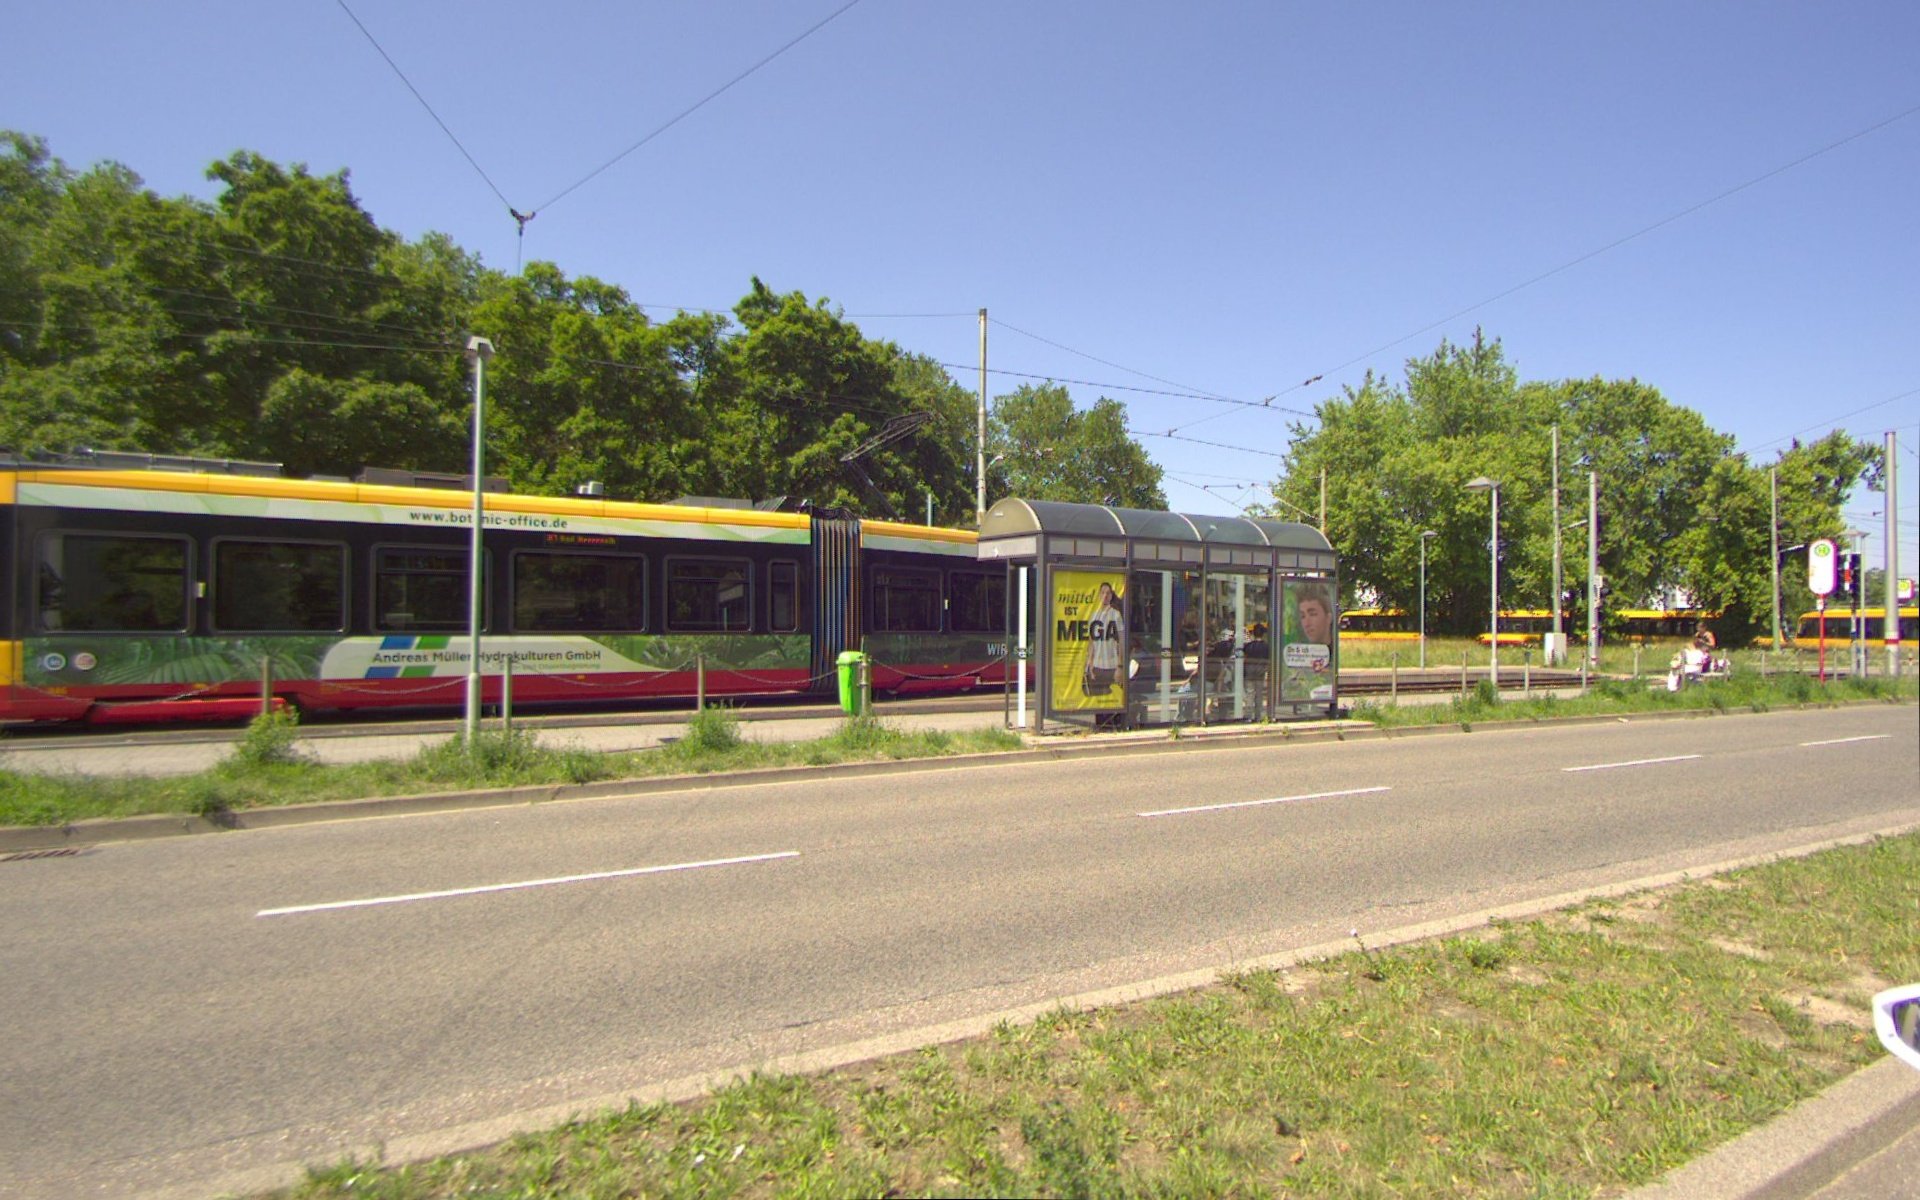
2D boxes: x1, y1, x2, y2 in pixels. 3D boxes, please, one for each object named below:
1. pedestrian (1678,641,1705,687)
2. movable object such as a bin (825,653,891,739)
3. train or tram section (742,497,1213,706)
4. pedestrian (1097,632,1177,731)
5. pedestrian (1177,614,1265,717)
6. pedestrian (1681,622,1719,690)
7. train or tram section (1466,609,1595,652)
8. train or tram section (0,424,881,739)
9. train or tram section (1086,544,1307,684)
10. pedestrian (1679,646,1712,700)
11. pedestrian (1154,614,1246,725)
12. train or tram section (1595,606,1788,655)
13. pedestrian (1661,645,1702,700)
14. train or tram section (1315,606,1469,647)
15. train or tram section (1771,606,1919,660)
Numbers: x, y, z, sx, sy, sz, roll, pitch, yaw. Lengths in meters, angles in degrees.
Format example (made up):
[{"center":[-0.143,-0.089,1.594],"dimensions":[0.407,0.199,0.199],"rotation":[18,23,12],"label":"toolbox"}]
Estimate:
[{"center":[17.269,1.505,23.718],"dimensions":[0.373,1.072,0.380],"rotation":[1,0,-32],"label":"pedestrian"},{"center":[-1.227,1.141,12.110],"dimensions":[0.638,0.991,0.478],"rotation":[1,-1,-34],"label":"movable object such as a bin"},{"center":[1.170,0.103,23.090],"dimensions":[12.369,3.673,3.013],"rotation":[1,0,-45],"label":"train or tram section"},{"center":[2.459,1.113,14.002],"dimensions":[0.831,1.300,0.697],"rotation":[1,0,-32],"label":"pedestrian"},{"center":[4.176,1.019,16.102],"dimensions":[0.974,1.567,0.925],"rotation":[1,0,-32],"label":"pedestrian"},{"center":[17.710,1.333,24.039],"dimensions":[0.576,1.586,0.532],"rotation":[1,0,-31],"label":"pedestrian"},{"center":[51.804,2.723,91.425],"dimensions":[10.044,3.512,3.040],"rotation":[1,0,31],"label":"train or tram section"},{"center":[-8.030,-0.144,15.540],"dimensions":[13.744,3.673,3.027],"rotation":[1,0,-32],"label":"train or tram section"},{"center":[8.114,0.416,32.347],"dimensions":[3.001,3.673,12.420],"rotation":[1,0,32],"label":"train or tram section"},{"center":[17.070,1.685,23.320],"dimensions":[0.396,1.205,0.491],"rotation":[1,0,-31],"label":"pedestrian"},{"center":[3.584,1.005,15.024],"dimensions":[1.014,1.567,0.869],"rotation":[1,0,-32],"label":"pedestrian"},{"center":[60.306,2.423,83.353],"dimensions":[3.017,3.512,12.622],"rotation":[1,0,-35],"label":"train or tram section"},{"center":[16.616,1.659,23.128],"dimensions":[0.530,1.205,0.578],"rotation":[1,0,-29],"label":"pedestrian"},{"center":[40.425,2.473,94.361],"dimensions":[12.999,3.512,3.047],"rotation":[1,0,3],"label":"train or tram section"},{"center":[64.217,2.232,71.119],"dimensions":[2.987,3.512,12.747],"rotation":[1,0,-2],"label":"train or tram section"}]
